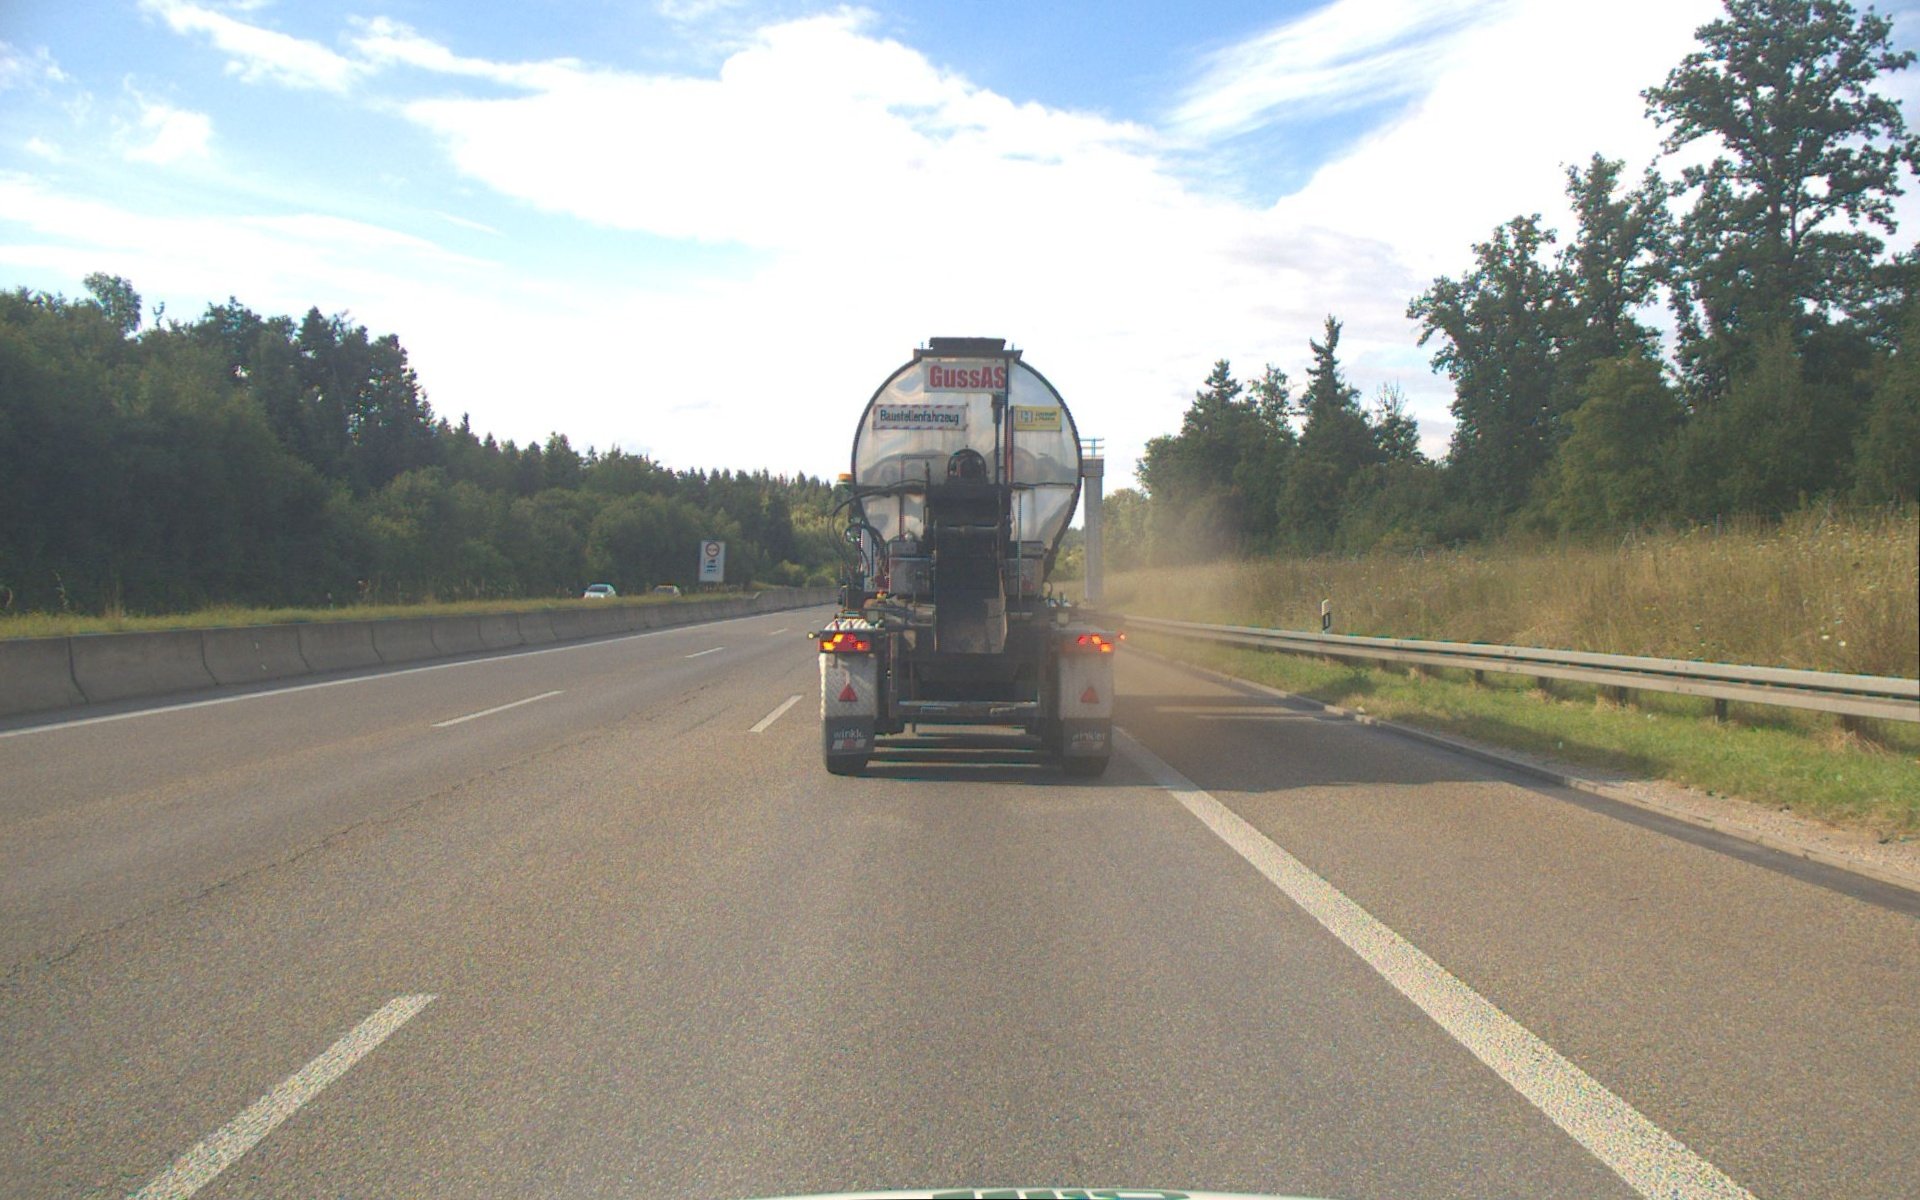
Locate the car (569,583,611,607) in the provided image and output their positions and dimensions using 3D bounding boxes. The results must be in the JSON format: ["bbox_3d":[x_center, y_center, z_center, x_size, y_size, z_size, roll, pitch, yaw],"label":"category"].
[{"bbox_3d":[-24.931,-0.368,111.681,1.910,1.566,4.326,0,0,-1],"label":"car"}]

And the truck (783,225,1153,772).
[{"bbox_3d":[-0.014,-0.821,18.504,2.853,4.230,11.267,0,0,-1],"label":"truck"}]

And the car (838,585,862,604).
[{"bbox_3d":[-9.349,-0.451,140.468,1.798,1.544,4.332,0,0,-1],"label":"car"}]

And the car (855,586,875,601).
[{"bbox_3d":[-9.456,-0.662,164.963,1.818,1.456,4.840,0,0,-1],"label":"car"}]
